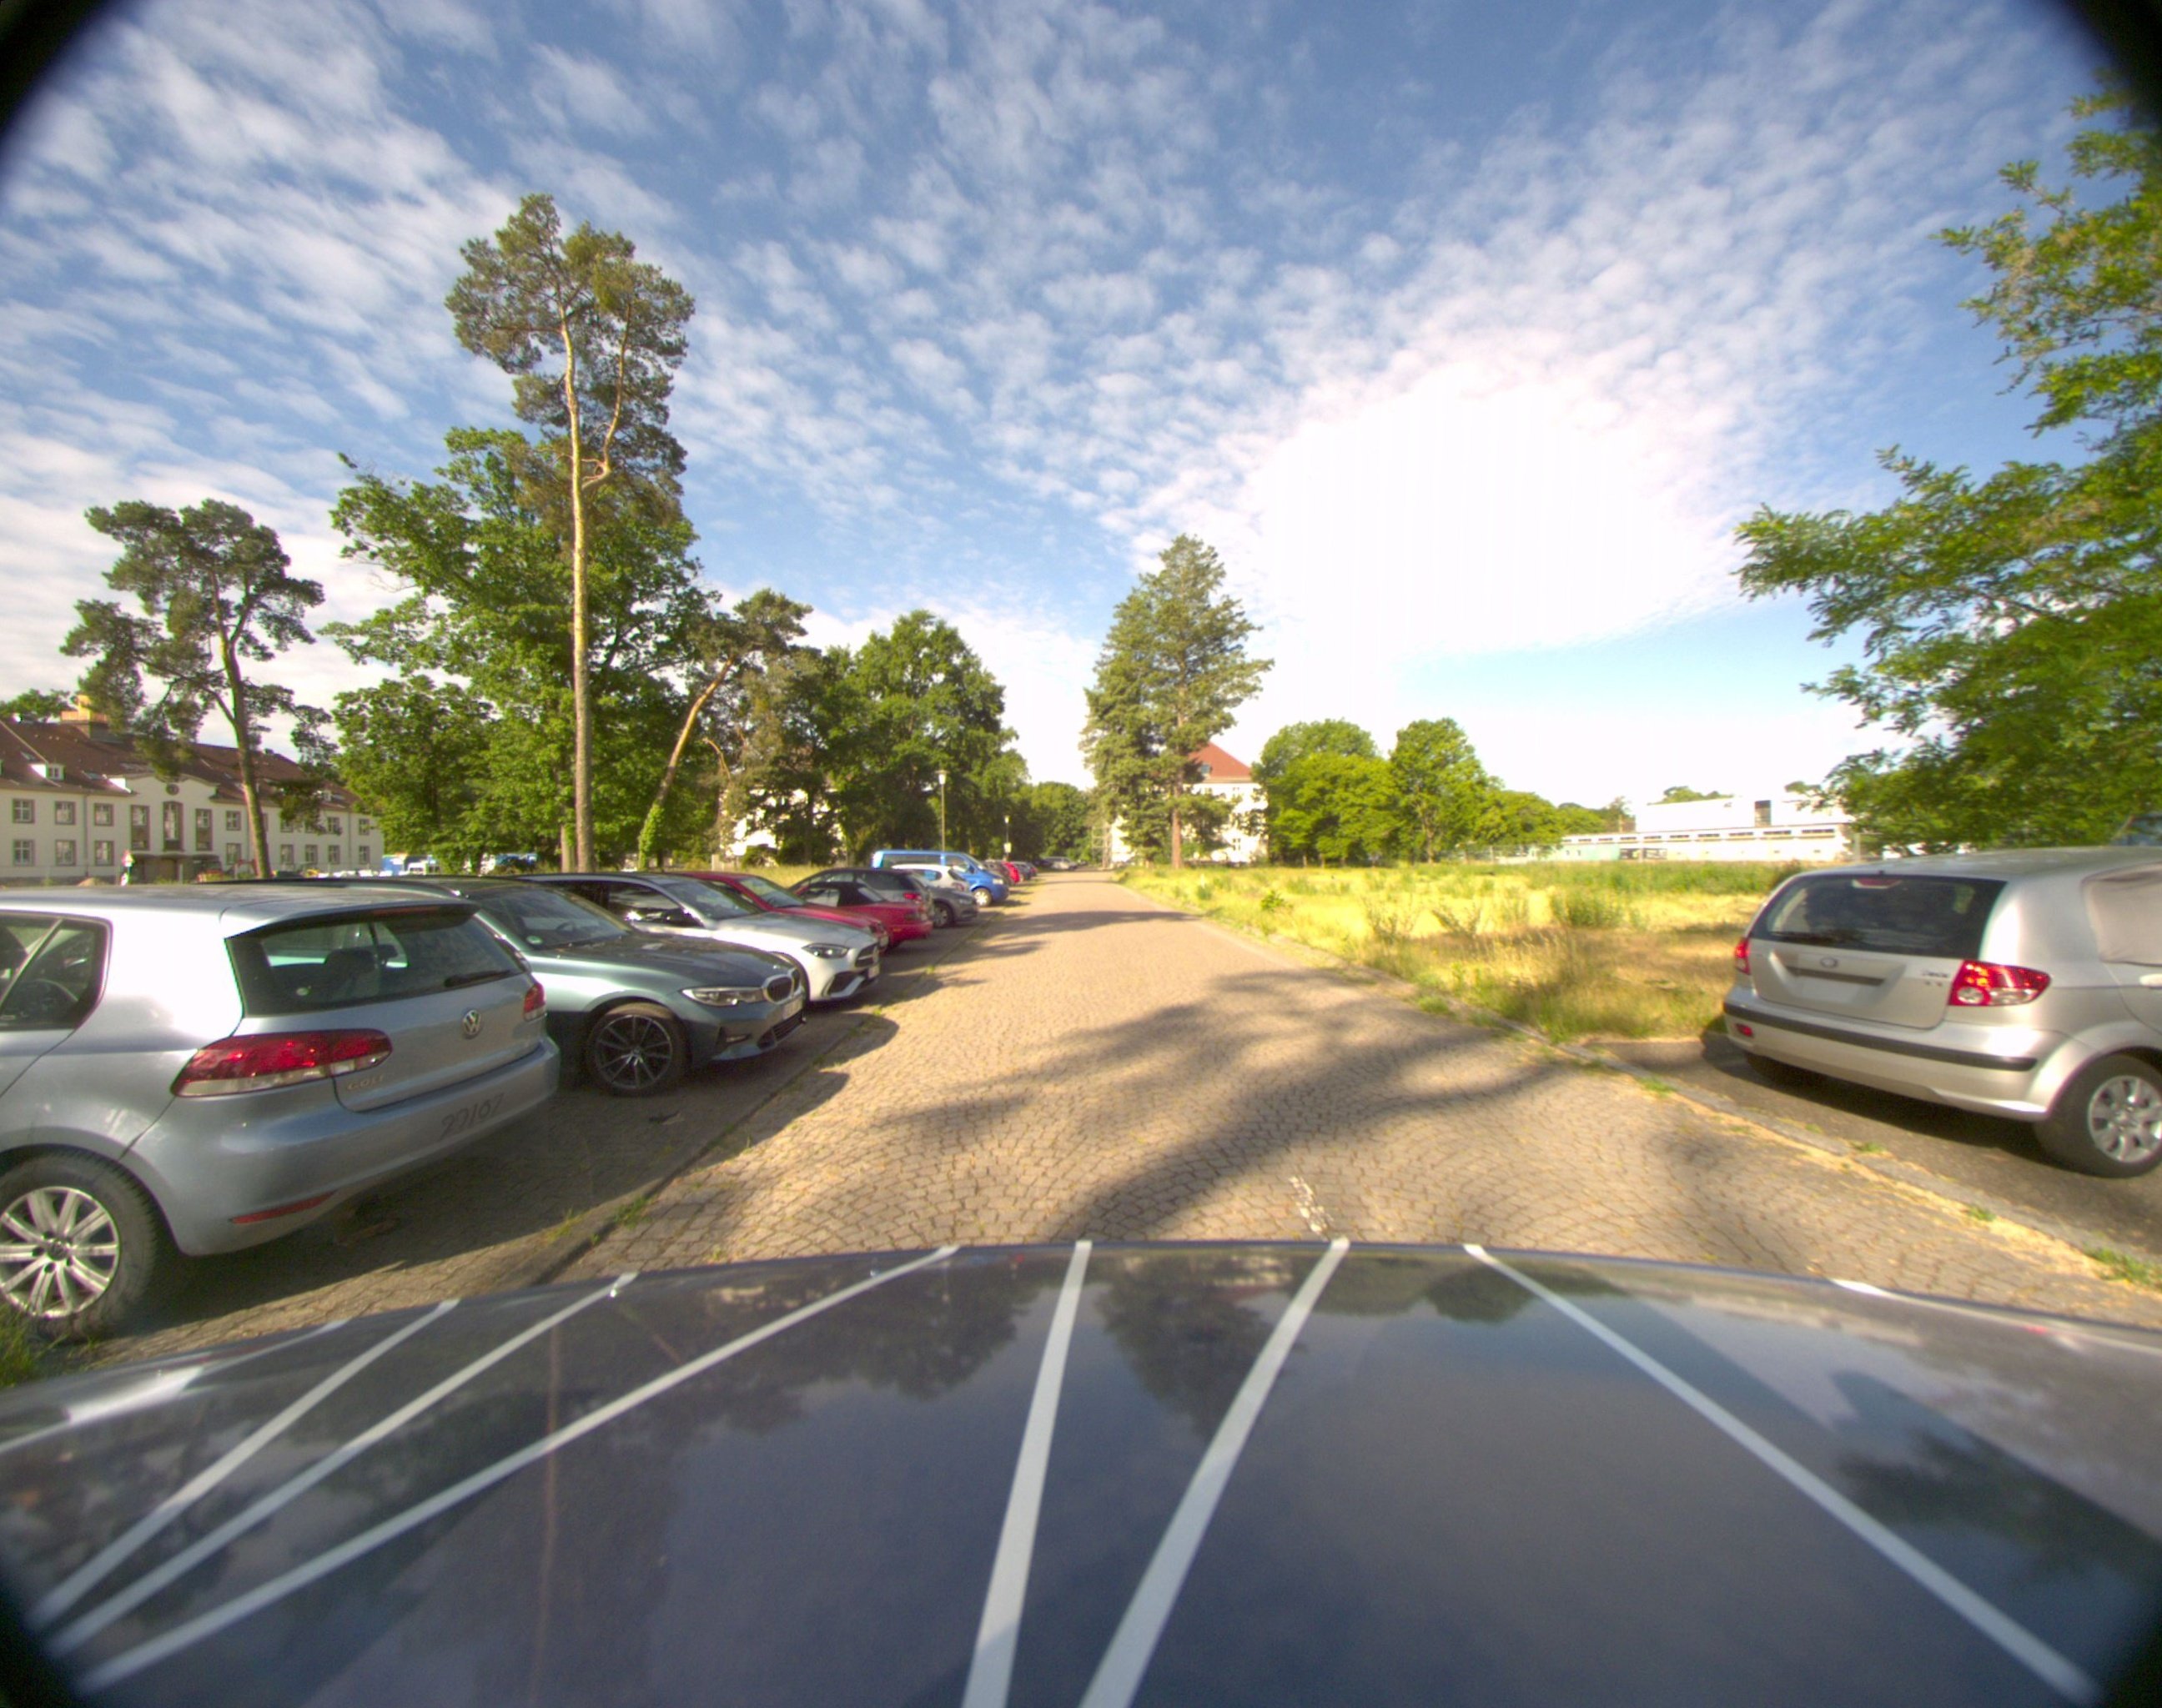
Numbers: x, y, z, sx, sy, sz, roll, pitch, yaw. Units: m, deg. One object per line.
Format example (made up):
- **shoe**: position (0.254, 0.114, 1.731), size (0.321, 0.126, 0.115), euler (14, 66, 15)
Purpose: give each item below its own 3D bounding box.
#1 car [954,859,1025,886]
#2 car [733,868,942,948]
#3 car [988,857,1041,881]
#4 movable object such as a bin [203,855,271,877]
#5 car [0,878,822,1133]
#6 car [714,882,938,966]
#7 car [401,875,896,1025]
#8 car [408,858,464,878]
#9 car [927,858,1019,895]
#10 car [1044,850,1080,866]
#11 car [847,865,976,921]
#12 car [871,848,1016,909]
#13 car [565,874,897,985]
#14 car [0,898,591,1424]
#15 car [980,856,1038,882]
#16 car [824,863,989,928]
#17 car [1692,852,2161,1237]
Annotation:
- **car**: position (-5.509, 1.113, 46.098), size (3.996, 1.509, 1.757), euler (-1, 0, 2)
- **car**: position (-4.892, 1.066, 15.616), size (3.780, 1.482, 1.549), euler (-1, 0, -1)
- **car**: position (-5.325, 1.202, 61.172), size (3.996, 1.605, 1.757), euler (-4, 1, 4)
- **movable object such as a bin**: position (-91.717, 1.274, 82.661), size (1.999, 2.309, 4.985), euler (-1, 0, -4)
- **car**: position (-4.514, 0.974, 5.743), size (4.508, 1.508, 1.825), euler (0, 0, -4)
- **car**: position (-4.262, 1.157, 13.032), size (3.357, 1.248, 1.419), euler (-1, 0, -1)
- **car**: position (-4.488, 0.989, 8.438), size (4.423, 1.394, 1.826), euler (1, 0, -2)
- **car**: position (-69.624, 1.511, 82.128), size (1.998, 2.002, 4.772), euler (-1, 0, 0)
- **car**: position (-5.055, 1.049, 35.826), size (3.996, 1.630, 1.757), euler (-1, 0, 2)
- **car**: position (-2.708, 0.626, 109.862), size (5.068, 2.251, 2.000), euler (-1, 0, -1)
- **car**: position (-4.746, 1.078, 21.512), size (3.264, 1.482, 1.449), euler (-1, 0, 2)
- **car**: position (-4.784, 0.836, 26.892), size (4.726, 2.002, 2.000), euler (-1, 0, 1)
- **car**: position (-4.757, 1.015, 10.745), size (3.918, 1.385, 1.660), euler (0, 0, -1)
- **car**: position (-4.666, 0.966, 3.146), size (4.026, 1.452, 1.870), euler (0, 0, -1)
- **car**: position (-5.296, 1.099, 56.371), size (3.996, 1.731, 1.757), euler (-2, 0, 2)
- **car**: position (-4.239, 1.003, 18.661), size (3.621, 1.482, 1.509), euler (-1, 0, 9)
- **car**: position (5.764, 0.816, 4.202), size (3.474, 1.462, 1.636), euler (-4, 1, -4)
